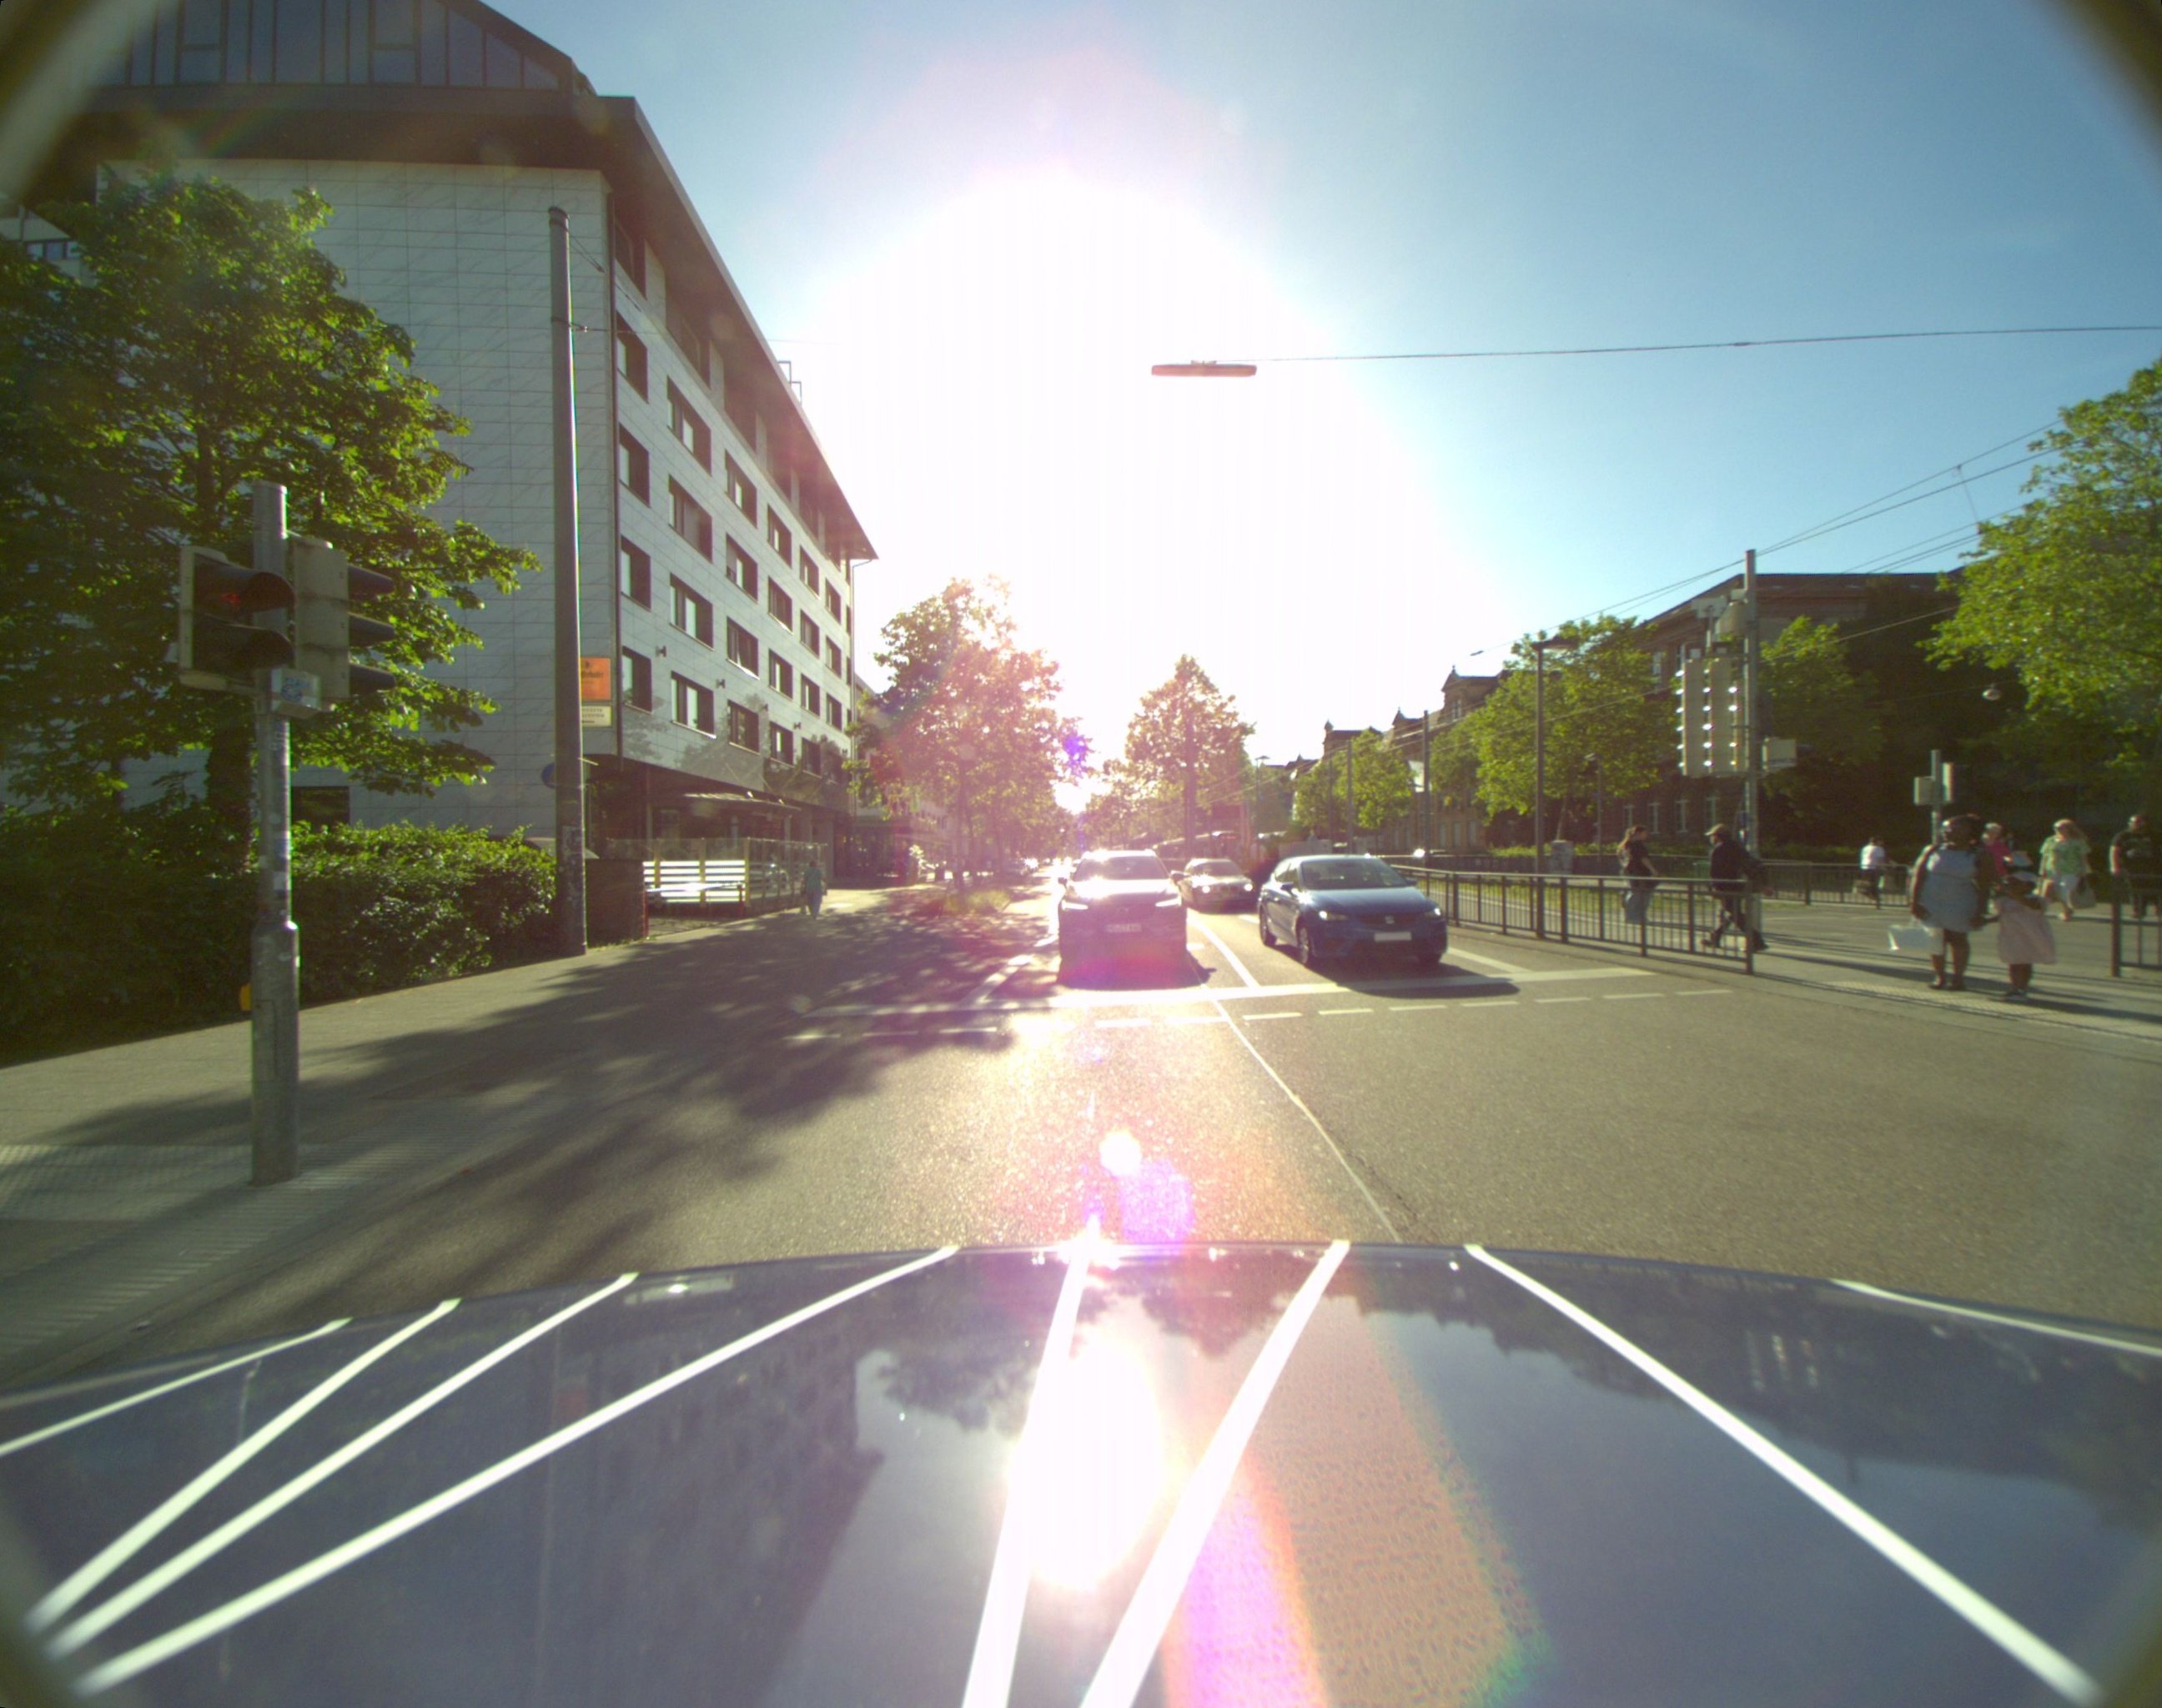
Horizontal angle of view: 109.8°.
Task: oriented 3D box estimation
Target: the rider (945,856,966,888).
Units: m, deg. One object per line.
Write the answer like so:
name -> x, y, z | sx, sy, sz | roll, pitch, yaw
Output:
rider -> -6.826, 0.954, 41.293 | 0.925, 1.668, 0.977 | -3, 1, -2

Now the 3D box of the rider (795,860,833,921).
rider -> -7.057, 0.953, 20.101 | 0.779, 1.582, 0.789 | 0, 1, -6

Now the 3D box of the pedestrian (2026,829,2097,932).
pedestrian -> 16.579, 0.435, 12.851 | 0.595, 1.667, 0.698 | -3, 1, -35

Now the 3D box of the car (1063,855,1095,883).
car -> -0.067, 0.933, 47.753 | 1.775, 1.567, 3.823 | -3, 0, 3

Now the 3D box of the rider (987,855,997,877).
rider -> -7.375, 0.980, 62.916 | 0.759, 1.717, 0.895 | -3, 1, -4

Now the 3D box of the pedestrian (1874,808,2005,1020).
pedestrian -> 7.685, 0.511, 6.815 | 0.647, 1.796, 0.504 | -3, 1, -13

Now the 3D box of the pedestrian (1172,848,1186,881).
pedestrian -> 6.432, 0.695, 49.920 | 0.714, 2.103, 0.787 | -3, 1, 2

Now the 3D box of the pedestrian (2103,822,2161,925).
pedestrian -> 18.211, 0.324, 13.086 | 0.595, 1.726, 0.698 | -3, 1, -35

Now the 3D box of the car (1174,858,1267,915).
car -> 4.013, 0.883, 22.562 | 1.799, 1.420, 3.999 | -3, 0, -3

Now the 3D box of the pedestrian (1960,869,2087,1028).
pedestrian -> 7.794, 0.755, 6.291 | 0.594, 1.226, 0.425 | -3, 1, -13

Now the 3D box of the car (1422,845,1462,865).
car -> 22.631, 0.059, 47.698 | 1.182, 1.190, 2.458 | -3, 1, -2

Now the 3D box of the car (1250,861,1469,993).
car -> 3.711, 0.885, 10.882 | 1.777, 1.439, 3.869 | -2, 0, 2

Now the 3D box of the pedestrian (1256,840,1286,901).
pedestrian -> 6.395, 0.537, 25.608 | 0.711, 2.002, 0.787 | -3, 1, -1

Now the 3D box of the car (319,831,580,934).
car -> -13.741, 0.604, 16.764 | 3.999, 2.086, 1.999 | 1, 0, -5

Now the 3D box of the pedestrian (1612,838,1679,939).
pedestrian -> 9.590, 0.563, 12.927 | 0.545, 1.652, 0.730 | -3, 1, 2

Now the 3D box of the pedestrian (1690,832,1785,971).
pedestrian -> 8.112, 0.568, 9.407 | 0.580, 1.652, 0.666 | -2, 1, 6

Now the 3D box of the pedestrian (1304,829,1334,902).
pedestrian -> 7.348, 0.348, 23.421 | 0.785, 2.175, 0.801 | -2, 1, 18

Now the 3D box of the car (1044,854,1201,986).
car -> 0.426, 0.864, 12.646 | 1.949, 1.690, 5.304 | -1, 0, -4

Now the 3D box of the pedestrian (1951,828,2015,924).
pedestrian -> 16.923, 0.408, 14.263 | 0.595, 1.735, 0.698 | -3, 1, -35
